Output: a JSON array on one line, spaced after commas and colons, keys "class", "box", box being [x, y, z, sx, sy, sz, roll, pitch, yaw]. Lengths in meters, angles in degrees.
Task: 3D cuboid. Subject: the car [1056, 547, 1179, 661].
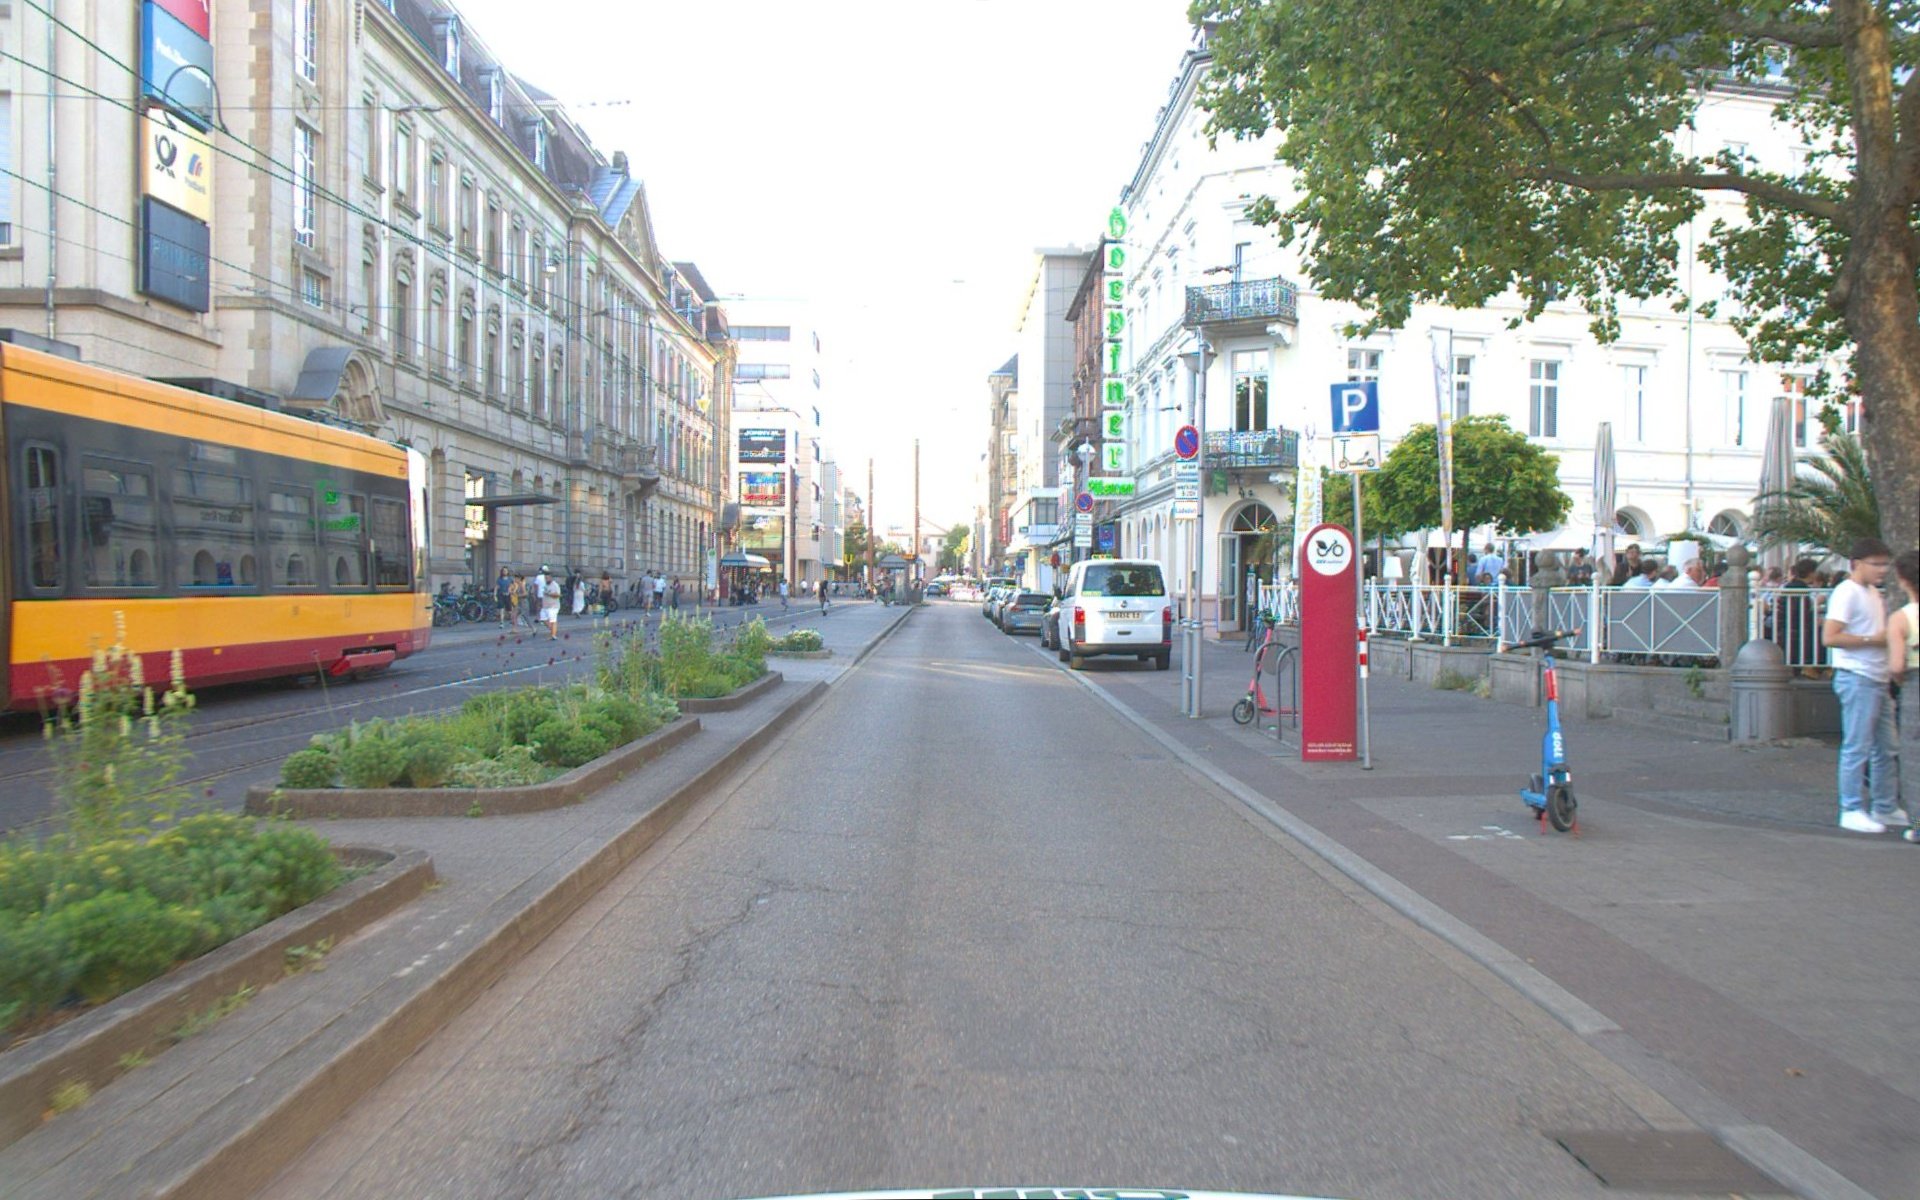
[{"class": "car", "box": [2.912, 0.063, 31.437, 1.876, 2.016, 4.420, 0, 0, -1]}]

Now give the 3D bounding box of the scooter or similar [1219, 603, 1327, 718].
[{"class": "scooter or similar", "box": [3.429, 0.660, 18.150, 1.102, 1.237, 0.300, -1, 0, 0]}]

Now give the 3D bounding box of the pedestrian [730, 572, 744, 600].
[{"class": "pedestrian", "box": [-12.883, -0.788, 95.704, 0.764, 1.608, 0.677, 0, 0, -12]}]

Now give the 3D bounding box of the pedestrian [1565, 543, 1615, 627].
[{"class": "pedestrian", "box": [12.640, -0.298, 33.187, 0.742, 1.672, 0.659, 0, -1, -1]}]

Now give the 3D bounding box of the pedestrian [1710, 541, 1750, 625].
[{"class": "pedestrian", "box": [16.095, -0.351, 34.587, 0.505, 1.742, 0.571, 1, -2, -33]}]

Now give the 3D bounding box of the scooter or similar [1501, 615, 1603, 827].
[{"class": "scooter or similar", "box": [3.763, 0.735, 10.567, 0.308, 1.243, 1.273, -1, 0, 6]}]

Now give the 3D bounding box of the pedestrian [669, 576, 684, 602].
[{"class": "pedestrian", "box": [-15.927, -0.625, 92.982, 0.616, 1.454, 0.711, 1, 0, 5]}]

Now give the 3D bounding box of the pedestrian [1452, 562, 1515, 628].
[{"class": "pedestrian", "box": [10.372, -0.092, 32.801, 0.944, 1.289, 0.905, 0, -1, -1]}]

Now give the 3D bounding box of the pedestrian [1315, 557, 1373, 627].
[{"class": "pedestrian", "box": [7.435, -0.147, 32.088, 0.884, 1.337, 0.966, 0, -1, -1]}]

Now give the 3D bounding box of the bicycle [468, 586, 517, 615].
[{"class": "bicycle", "box": [-15.686, 0.033, 55.507, 1.555, 0.965, 0.358, 0, -1, -13]}]

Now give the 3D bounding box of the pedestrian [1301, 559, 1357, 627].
[{"class": "pedestrian", "box": [7.400, -0.131, 33.188, 0.884, 1.329, 0.966, 0, -1, -1]}]

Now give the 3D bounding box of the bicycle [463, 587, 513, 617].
[{"class": "bicycle", "box": [-15.457, 0.061, 54.160, 1.555, 0.965, 0.358, 0, -1, -13]}]

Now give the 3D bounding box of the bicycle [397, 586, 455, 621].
[{"class": "bicycle", "box": [-15.315, 0.104, 47.475, 1.555, 0.965, 0.358, 0, -1, -13]}]

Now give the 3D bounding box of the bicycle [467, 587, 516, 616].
[{"class": "bicycle", "box": [-15.599, 0.050, 55.065, 1.555, 0.965, 0.358, 0, -1, -13]}]

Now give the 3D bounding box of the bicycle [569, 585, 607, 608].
[{"class": "bicycle", "box": [-15.750, -0.128, 70.097, 1.555, 0.965, 0.358, 0, -1, -13]}]

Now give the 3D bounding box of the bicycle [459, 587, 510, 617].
[{"class": "bicycle", "box": [-15.316, 0.067, 53.288, 1.555, 0.965, 0.358, 0, -1, -13]}]

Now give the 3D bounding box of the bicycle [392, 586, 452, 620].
[{"class": "bicycle", "box": [-15.157, 0.089, 46.633, 1.555, 0.965, 0.358, 0, -1, -13]}]

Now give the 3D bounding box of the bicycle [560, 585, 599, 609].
[{"class": "bicycle", "box": [-15.794, -0.110, 68.635, 1.555, 0.965, 0.358, 0, -1, -13]}]

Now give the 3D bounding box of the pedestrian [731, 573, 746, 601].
[{"class": "pedestrian", "box": [-12.719, -0.769, 94.945, 0.760, 1.608, 0.677, 0, 0, -12]}]

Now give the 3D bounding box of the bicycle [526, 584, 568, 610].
[{"class": "bicycle", "box": [-16.012, -0.109, 64.115, 1.555, 0.965, 0.358, 0, -1, -13]}]

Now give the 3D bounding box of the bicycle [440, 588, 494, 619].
[{"class": "bicycle", "box": [-15.229, 0.111, 51.131, 1.555, 0.965, 0.358, 0, -1, -13]}]

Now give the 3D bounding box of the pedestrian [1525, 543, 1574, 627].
[{"class": "pedestrian", "box": [11.805, -0.292, 33.146, 0.742, 1.672, 0.659, 0, -1, 0]}]

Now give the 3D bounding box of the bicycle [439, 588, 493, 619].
[{"class": "bicycle", "box": [-15.125, 0.112, 50.697, 1.555, 0.965, 0.358, 0, -1, -13]}]

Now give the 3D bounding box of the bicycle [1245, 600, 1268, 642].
[{"class": "bicycle", "box": [6.643, 0.470, 37.042, 0.245, 0.918, 1.374, 0, -1, -1]}]

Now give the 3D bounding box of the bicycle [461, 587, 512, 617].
[{"class": "bicycle", "box": [-15.385, 0.055, 53.722, 1.555, 0.965, 0.358, 0, -1, -13]}]

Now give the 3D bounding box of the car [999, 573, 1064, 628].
[{"class": "car", "box": [2.384, 0.004, 56.231, 1.953, 1.791, 4.420, 0, 0, -1]}]

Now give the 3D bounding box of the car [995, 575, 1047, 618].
[{"class": "car", "box": [2.496, -0.109, 69.072, 1.953, 1.696, 4.420, 0, -1, -1]}]

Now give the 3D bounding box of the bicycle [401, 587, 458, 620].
[{"class": "bicycle", "box": [-15.490, 0.105, 48.283, 1.555, 0.965, 0.358, 0, -1, -13]}]

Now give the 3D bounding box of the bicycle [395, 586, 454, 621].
[{"class": "bicycle", "box": [-15.230, 0.102, 47.028, 1.555, 0.965, 0.358, 0, -1, -13]}]

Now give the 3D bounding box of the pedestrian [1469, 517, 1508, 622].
[{"class": "pedestrian", "box": [11.839, -0.672, 37.052, 0.604, 2.345, 0.577, 1, -1, -22]}]

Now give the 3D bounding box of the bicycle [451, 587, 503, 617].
[{"class": "bicycle", "box": [-15.412, 0.063, 52.812, 1.555, 0.965, 0.358, 0, -1, -13]}]

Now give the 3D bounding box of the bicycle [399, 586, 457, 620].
[{"class": "bicycle", "box": [-15.395, 0.102, 47.882, 1.555, 0.965, 0.358, 0, -1, -13]}]

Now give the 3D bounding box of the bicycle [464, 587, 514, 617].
[{"class": "bicycle", "box": [-15.540, 0.060, 54.616, 1.555, 0.965, 0.358, 0, -1, -13]}]

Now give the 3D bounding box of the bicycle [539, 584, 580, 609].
[{"class": "bicycle", "box": [-15.923, -0.143, 65.780, 1.555, 0.965, 0.358, 0, -1, -13]}]

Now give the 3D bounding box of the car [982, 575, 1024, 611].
[{"class": "car", "box": [2.105, -0.319, 82.220, 1.953, 1.696, 4.420, 0, -1, -1]}]

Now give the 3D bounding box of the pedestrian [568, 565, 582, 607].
[{"class": "pedestrian", "box": [-15.476, -0.561, 66.551, 0.507, 1.702, 0.480, 1, 0, -16]}]

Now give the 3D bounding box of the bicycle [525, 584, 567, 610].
[{"class": "bicycle", "box": [-15.949, -0.104, 63.682, 1.555, 0.965, 0.358, 0, -1, -13]}]

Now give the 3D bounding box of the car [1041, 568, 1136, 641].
[{"class": "car", "box": [3.108, 0.118, 40.736, 1.953, 1.696, 4.420, 0, 0, -1]}]
